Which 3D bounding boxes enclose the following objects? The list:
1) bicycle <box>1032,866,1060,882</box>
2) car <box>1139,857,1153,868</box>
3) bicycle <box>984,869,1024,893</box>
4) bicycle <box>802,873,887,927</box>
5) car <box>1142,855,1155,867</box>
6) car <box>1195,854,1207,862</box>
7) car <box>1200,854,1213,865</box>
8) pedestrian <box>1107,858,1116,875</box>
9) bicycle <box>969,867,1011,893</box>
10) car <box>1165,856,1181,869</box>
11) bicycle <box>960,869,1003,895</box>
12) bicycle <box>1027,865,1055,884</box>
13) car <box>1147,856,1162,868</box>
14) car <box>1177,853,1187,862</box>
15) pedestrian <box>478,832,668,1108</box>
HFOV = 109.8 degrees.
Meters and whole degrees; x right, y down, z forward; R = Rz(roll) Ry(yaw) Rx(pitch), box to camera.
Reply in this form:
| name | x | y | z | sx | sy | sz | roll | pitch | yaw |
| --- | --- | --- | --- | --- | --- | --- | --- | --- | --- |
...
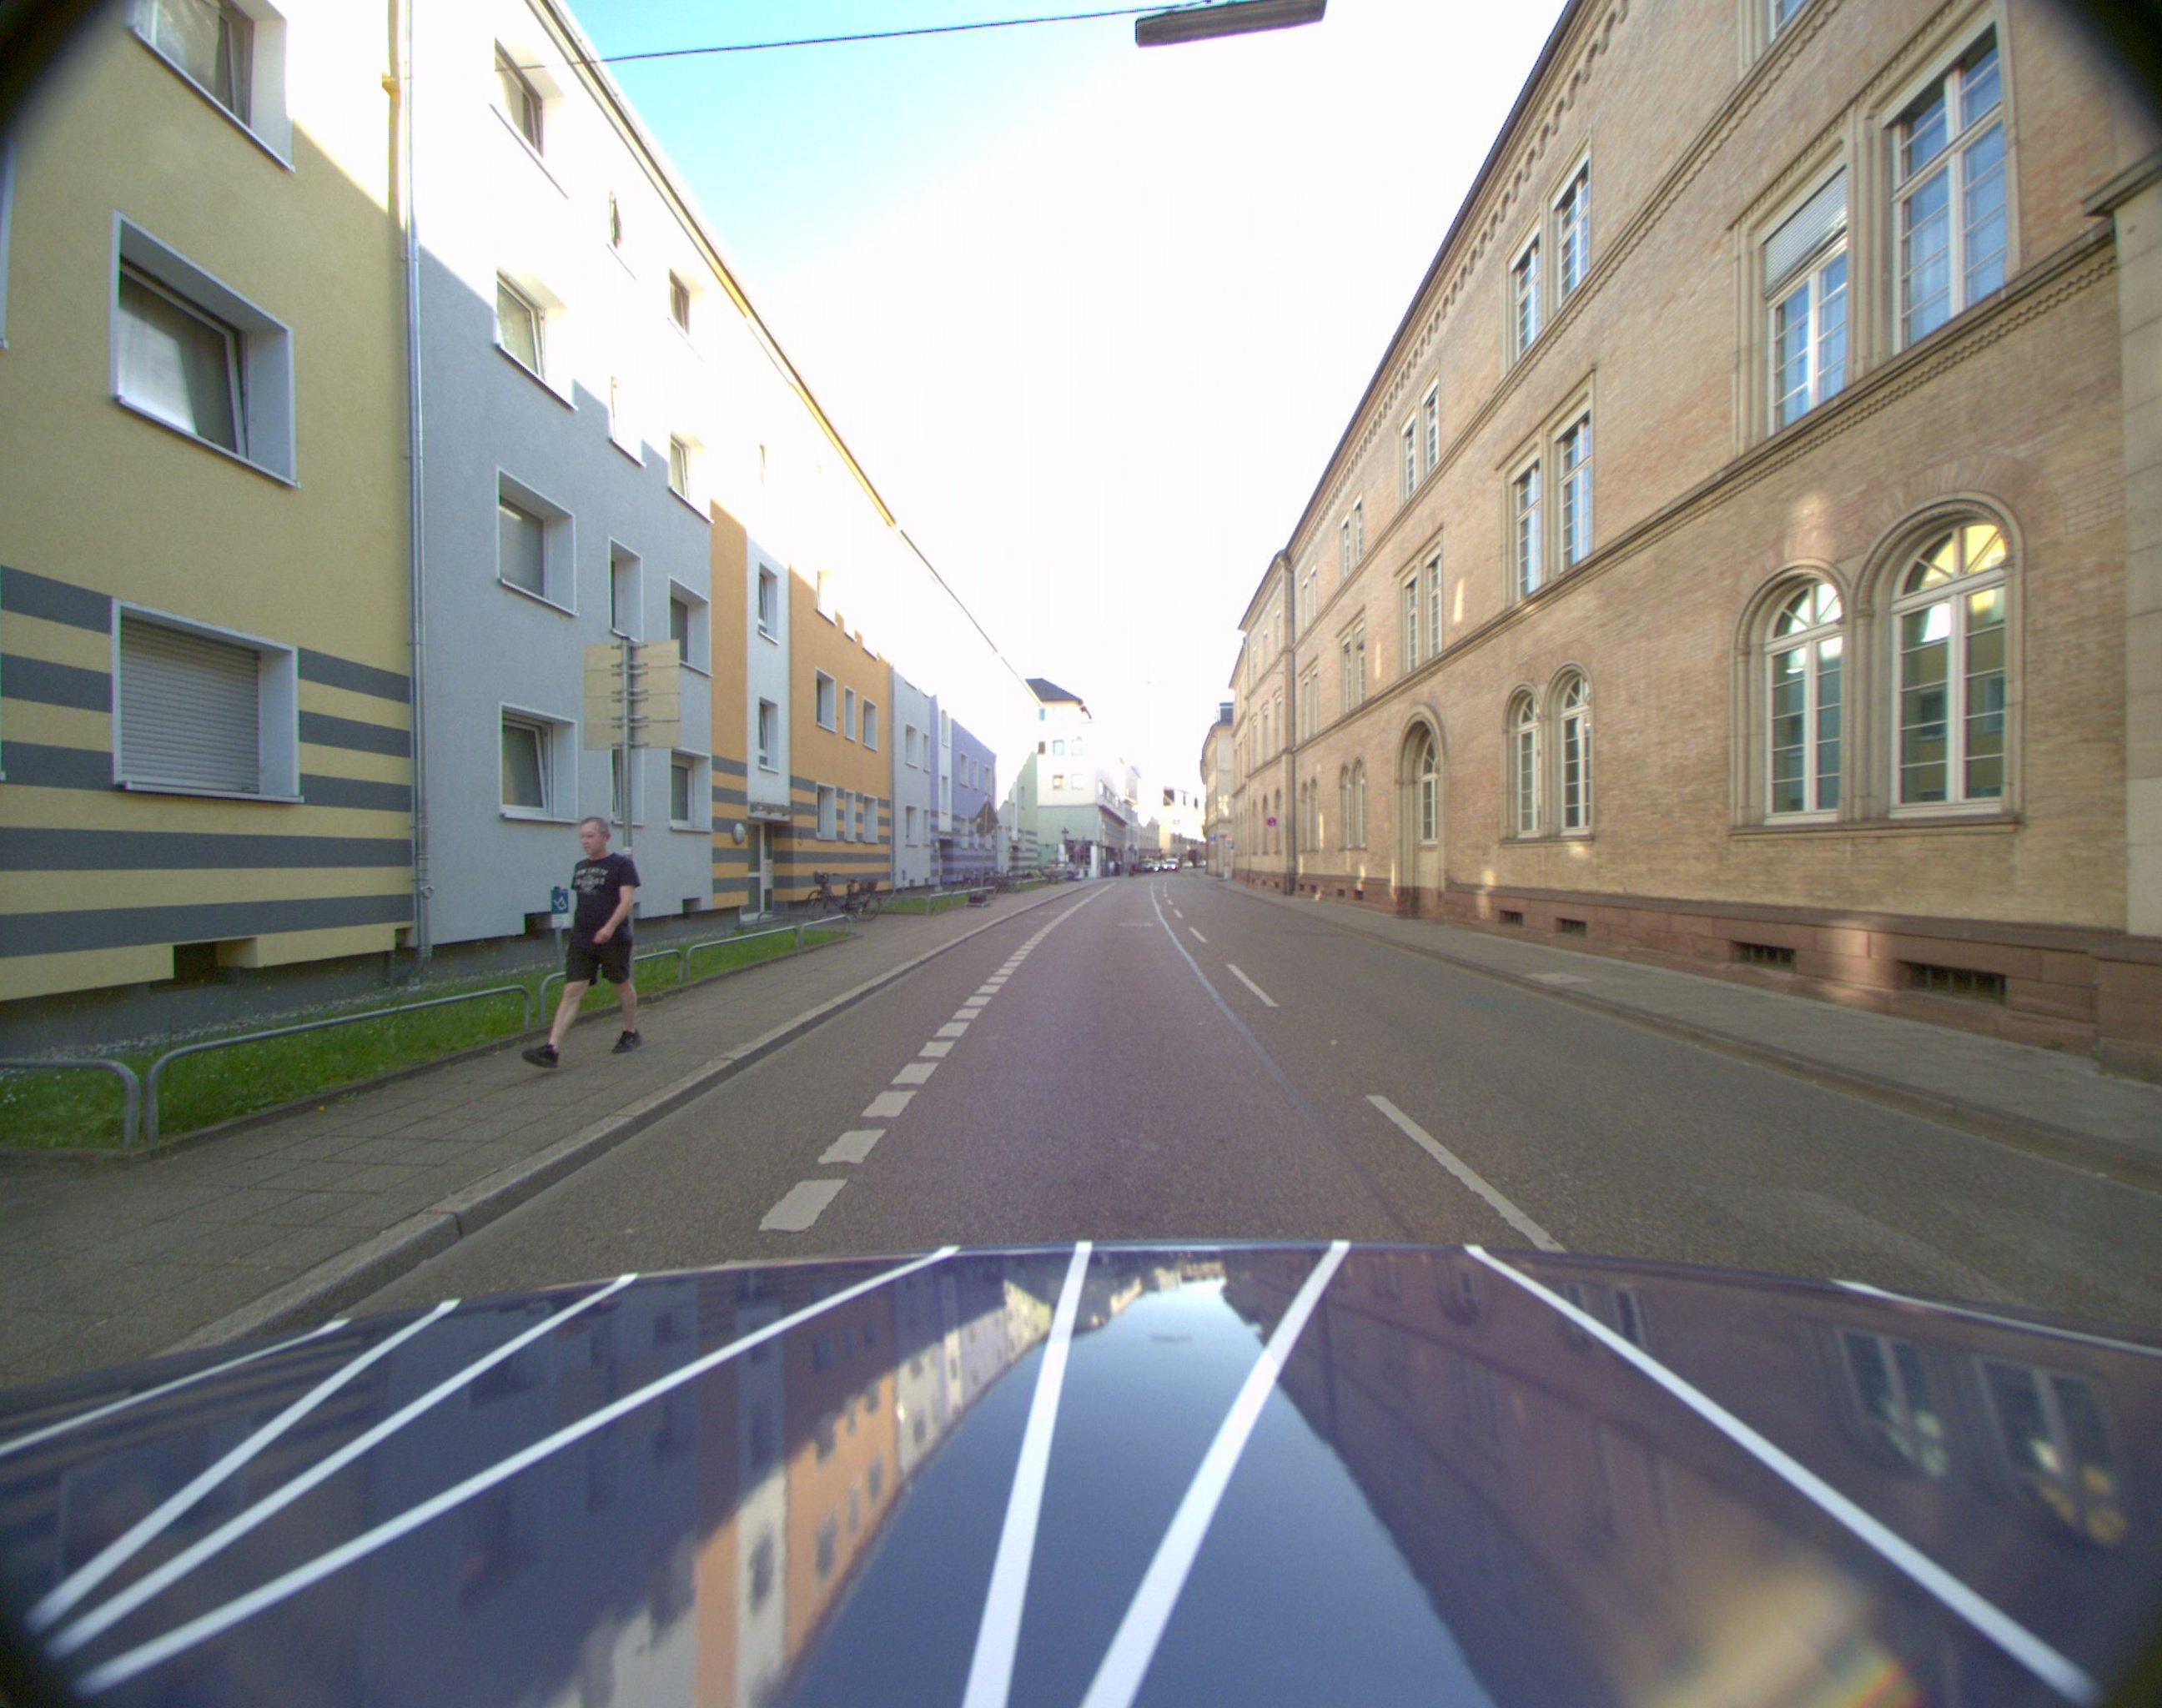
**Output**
| name | x | y | z | sx | sy | sz | roll | pitch | yaw |
| --- | --- | --- | --- | --- | --- | --- | --- | --- | --- |
| bicycle | -2.177 | 1.274 | 47.567 | 1.711 | 0.972 | 0.516 | 1 | 0 | -2 |
| car | 8.635 | 1.168 | 100.758 | 1.634 | 1.405 | 3.687 | 0 | 0 | 8 |
| bicycle | -3.395 | 1.180 | 33.748 | 1.711 | 1.029 | 0.636 | 1 | 0 | -2 |
| bicycle | -5.295 | 1.028 | 17.092 | 1.711 | 1.152 | 0.636 | 1 | 0 | -2 |
| car | 9.460 | 0.969 | 106.033 | 1.535 | 1.714 | 3.741 | 0 | 0 | 8 |
| car | 25.797 | 0.900 | 163.633 | 1.925 | 1.714 | 4.236 | 0 | 0 | 19 |
| car | 19.925 | 0.874 | 120.408 | 1.662 | 1.714 | 3.743 | 0 | 0 | 14 |
| pedestrian | 2.710 | 1.074 | 67.208 | 0.707 | 1.510 | 0.662 | -1 | 0 | 13 |
| bicycle | -3.954 | 1.116 | 32.987 | 1.710 | 1.075 | 0.636 | 1 | 0 | 1 |
| car | 12.748 | 1.162 | 104.712 | 1.921 | 1.712 | 4.964 | 0 | 0 | 10 |
| bicycle | -4.156 | 1.153 | 31.845 | 1.710 | 1.039 | 0.636 | 1 | 0 | 2 |
| bicycle | -2.425 | 1.250 | 46.107 | 1.711 | 1.097 | 0.584 | 1 | 0 | -2 |
| car | 10.937 | 1.166 | 112.515 | 1.861 | 1.714 | 3.742 | 0 | 0 | 12 |
| car | 19.916 | 0.703 | 149.628 | 1.534 | 1.714 | 3.743 | 0 | 0 | 16 |
| pedestrian | -3.580 | 0.762 | 5.434 | 0.646 | 1.778 | 0.916 | 3 | 1 | 4 |
